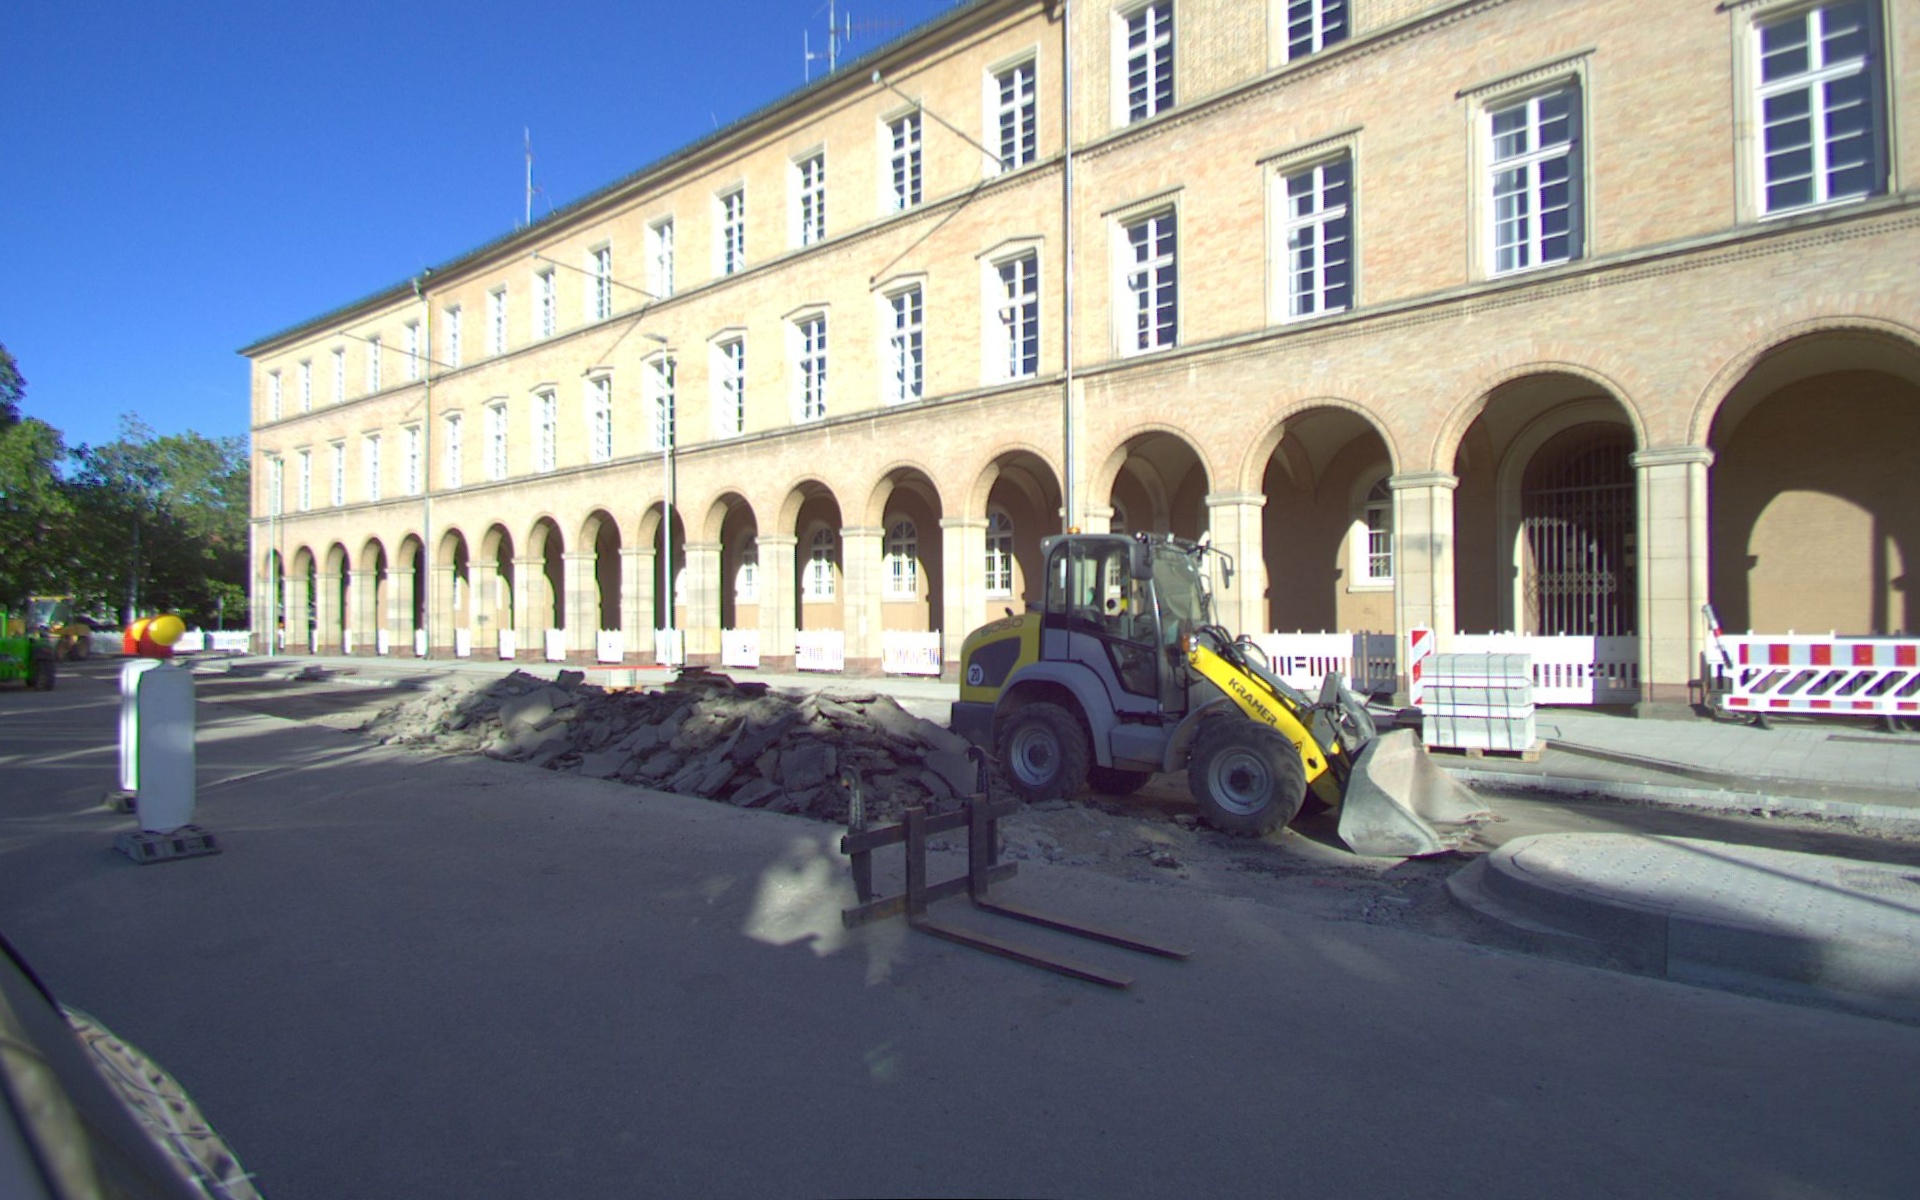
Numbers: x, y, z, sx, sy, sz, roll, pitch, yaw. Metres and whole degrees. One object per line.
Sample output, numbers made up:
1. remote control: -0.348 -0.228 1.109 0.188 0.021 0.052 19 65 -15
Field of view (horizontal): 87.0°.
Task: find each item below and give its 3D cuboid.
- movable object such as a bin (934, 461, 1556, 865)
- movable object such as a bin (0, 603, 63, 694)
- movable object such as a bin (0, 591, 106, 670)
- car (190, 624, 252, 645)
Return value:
1. movable object such as a bin: 2.151 0.489 8.593 4.616 2.494 2.052 -3 -3 43
2. movable object such as a bin: -22.281 1.132 23.360 4.336 1.964 2.027 -3 -3 44
3. movable object such as a bin: -38.671 1.245 42.088 2.523 3.054 5.948 1 -1 -15
4. car: -62.317 2.910 85.403 1.547 1.639 3.958 -3 -3 31
